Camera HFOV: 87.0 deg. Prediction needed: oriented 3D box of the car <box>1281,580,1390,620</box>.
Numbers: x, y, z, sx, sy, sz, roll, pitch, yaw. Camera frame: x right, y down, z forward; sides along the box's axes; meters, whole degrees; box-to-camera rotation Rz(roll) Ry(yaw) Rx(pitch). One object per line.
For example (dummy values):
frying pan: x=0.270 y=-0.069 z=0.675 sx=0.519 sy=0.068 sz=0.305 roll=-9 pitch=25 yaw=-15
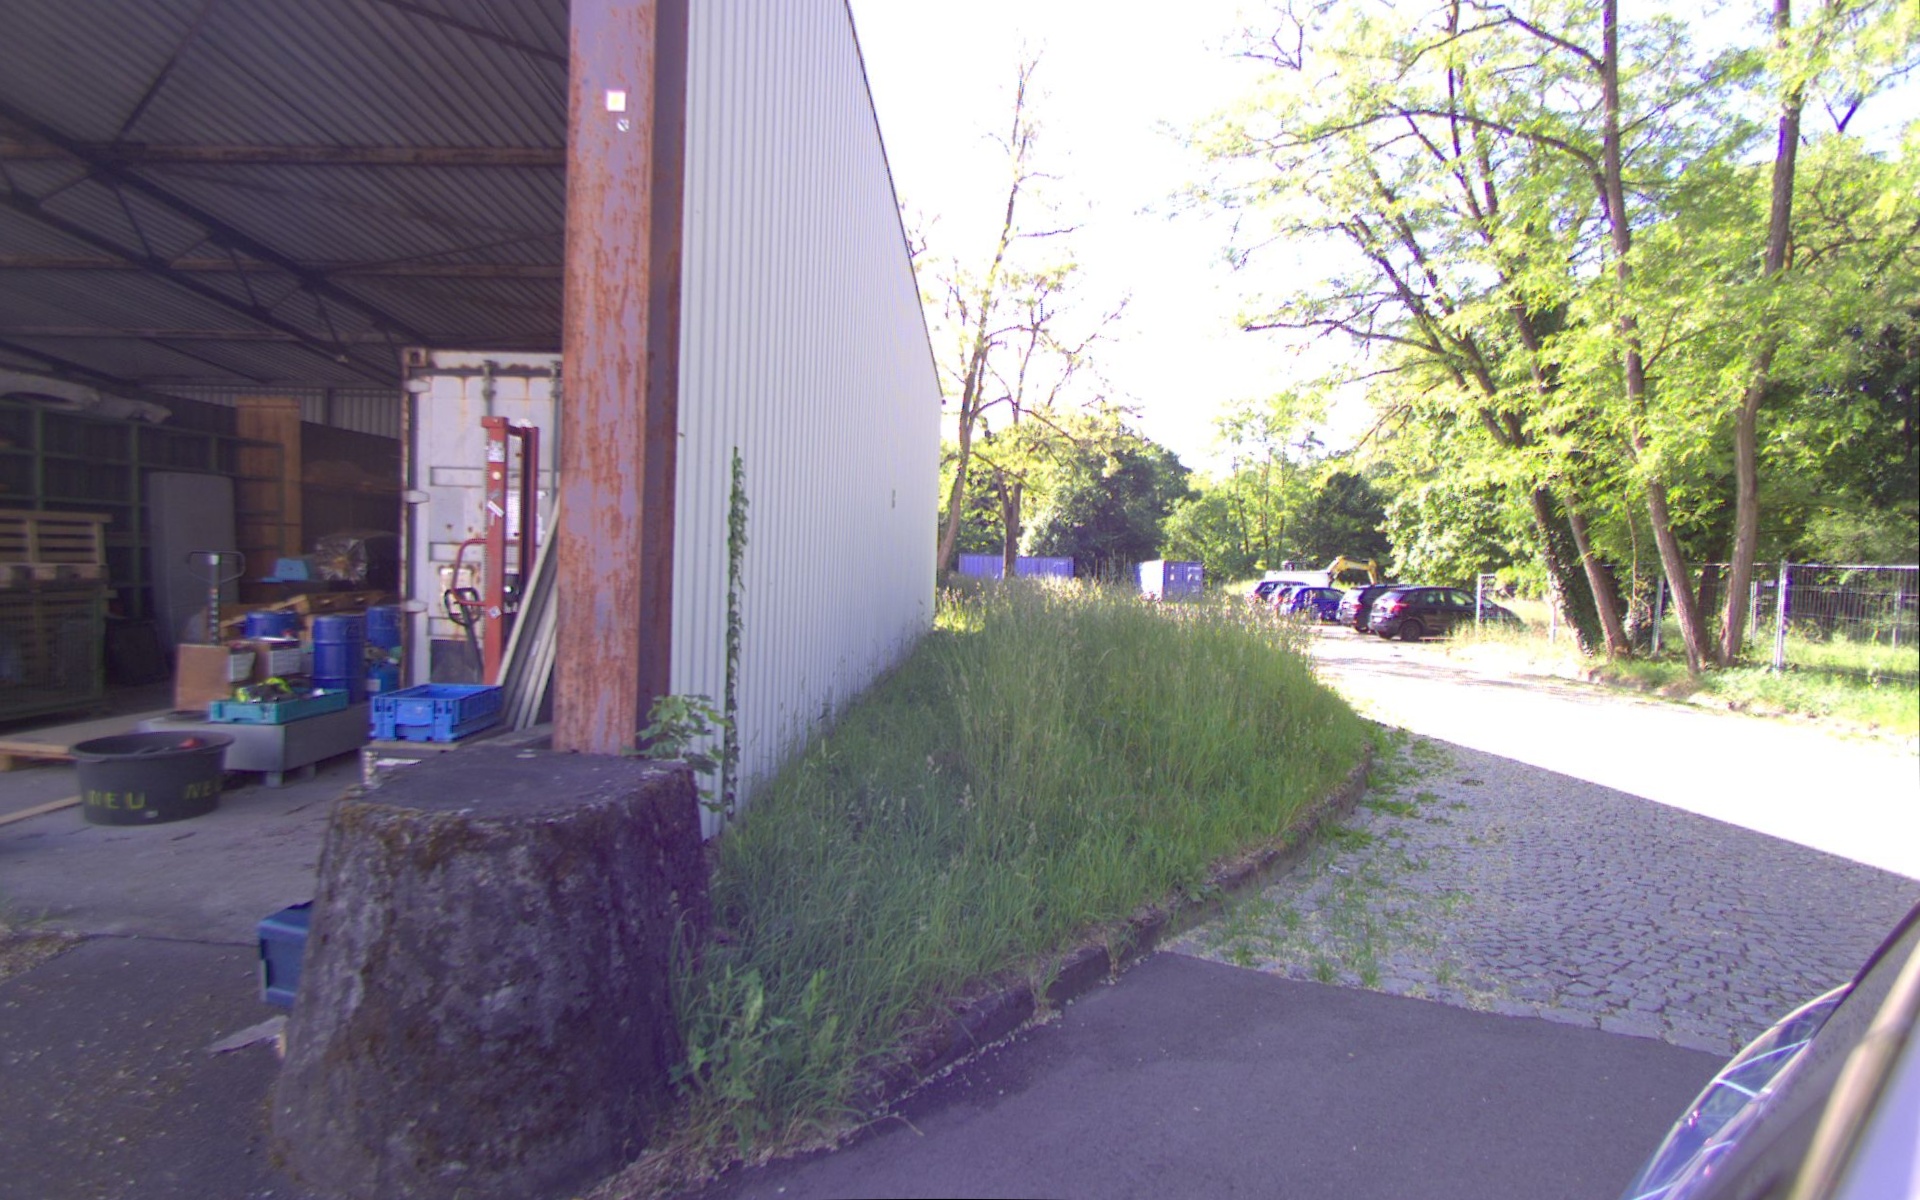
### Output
car: x=14.473 y=-0.009 z=39.167 sx=3.600 sy=1.512 sz=1.712 roll=0 pitch=1 yaw=6

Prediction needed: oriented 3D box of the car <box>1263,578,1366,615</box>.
car: x=14.574 y=-0.151 z=41.782 sx=3.597 sy=1.469 sz=1.833 roll=0 pitch=2 yaw=4

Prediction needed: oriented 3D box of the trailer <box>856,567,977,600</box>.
trailer: x=-2.327 y=-0.932 z=55.508 sx=6.375 sy=1.536 sz=2.854 roll=1 pitch=3 yaw=4

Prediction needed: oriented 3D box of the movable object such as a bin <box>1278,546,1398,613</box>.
movable object such as a bin: x=18.384 y=-1.013 z=49.435 sx=5.079 sy=3.003 sz=1.996 roll=2 pitch=1 yaw=8

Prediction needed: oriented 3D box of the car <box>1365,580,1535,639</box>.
car: x=14.720 y=0.253 z=30.553 sx=4.217 sy=1.672 sz=1.794 roll=0 pitch=1 yaw=-1

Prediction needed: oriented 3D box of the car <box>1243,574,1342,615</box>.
car: x=14.469 y=-0.252 z=44.232 sx=3.754 sy=1.661 sz=1.865 roll=1 pitch=1 yaw=6

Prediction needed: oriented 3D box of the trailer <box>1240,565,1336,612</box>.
trailer: x=15.217 y=-0.556 z=47.083 sx=3.902 sy=2.120 sz=1.637 roll=0 pitch=1 yaw=5

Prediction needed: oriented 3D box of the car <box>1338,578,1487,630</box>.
car: x=15.019 y=0.104 z=33.779 sx=4.114 sy=1.677 sz=1.817 roll=0 pitch=1 yaw=3
